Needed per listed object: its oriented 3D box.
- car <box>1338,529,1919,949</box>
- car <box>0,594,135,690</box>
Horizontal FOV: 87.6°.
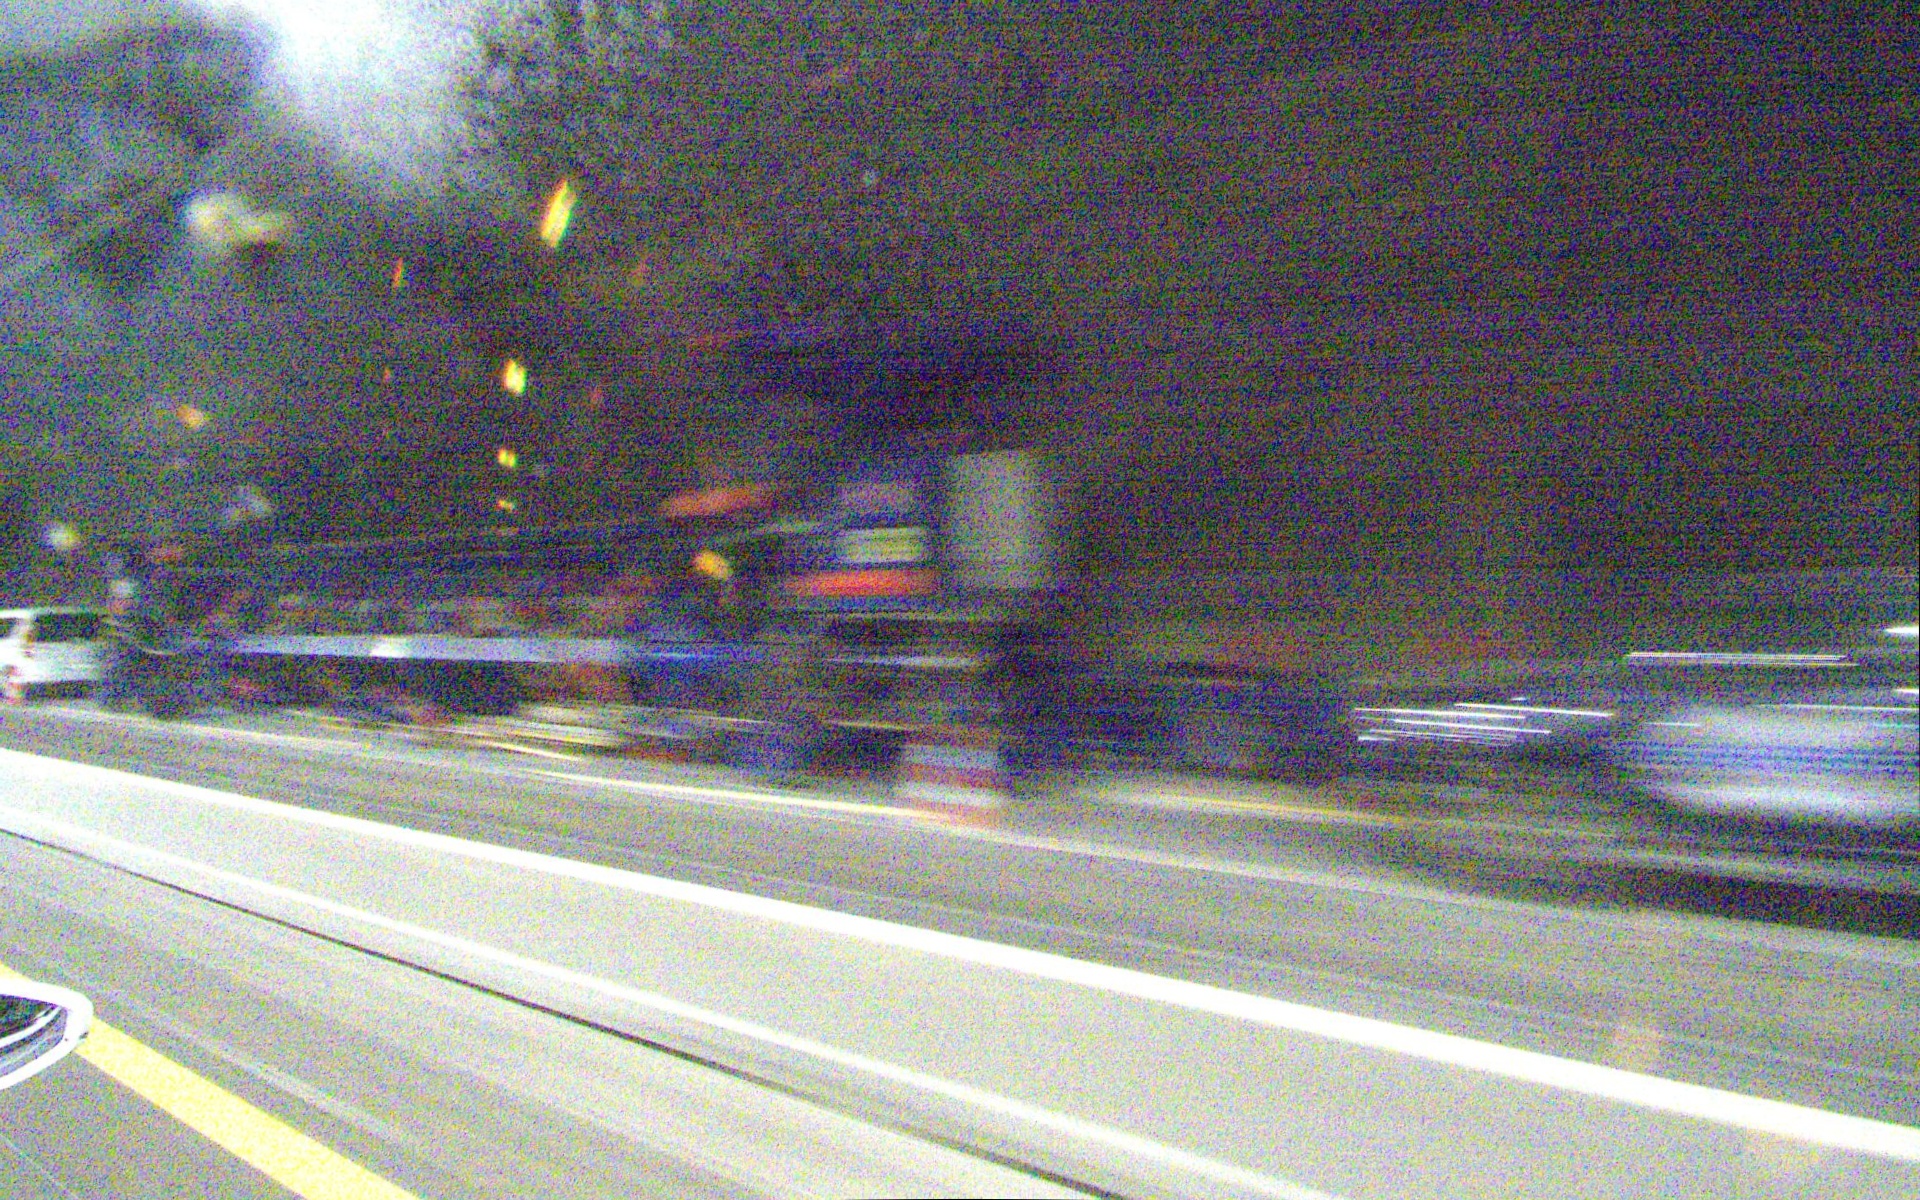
[{"bbox_3d":[4.938,0.646,5.184,5.360,1.882,1.826,0,-1,30],"label":"car"},{"bbox_3d":[-19.784,0.826,21.374,4.573,1.870,1.749,0,0,28],"label":"car"}]
